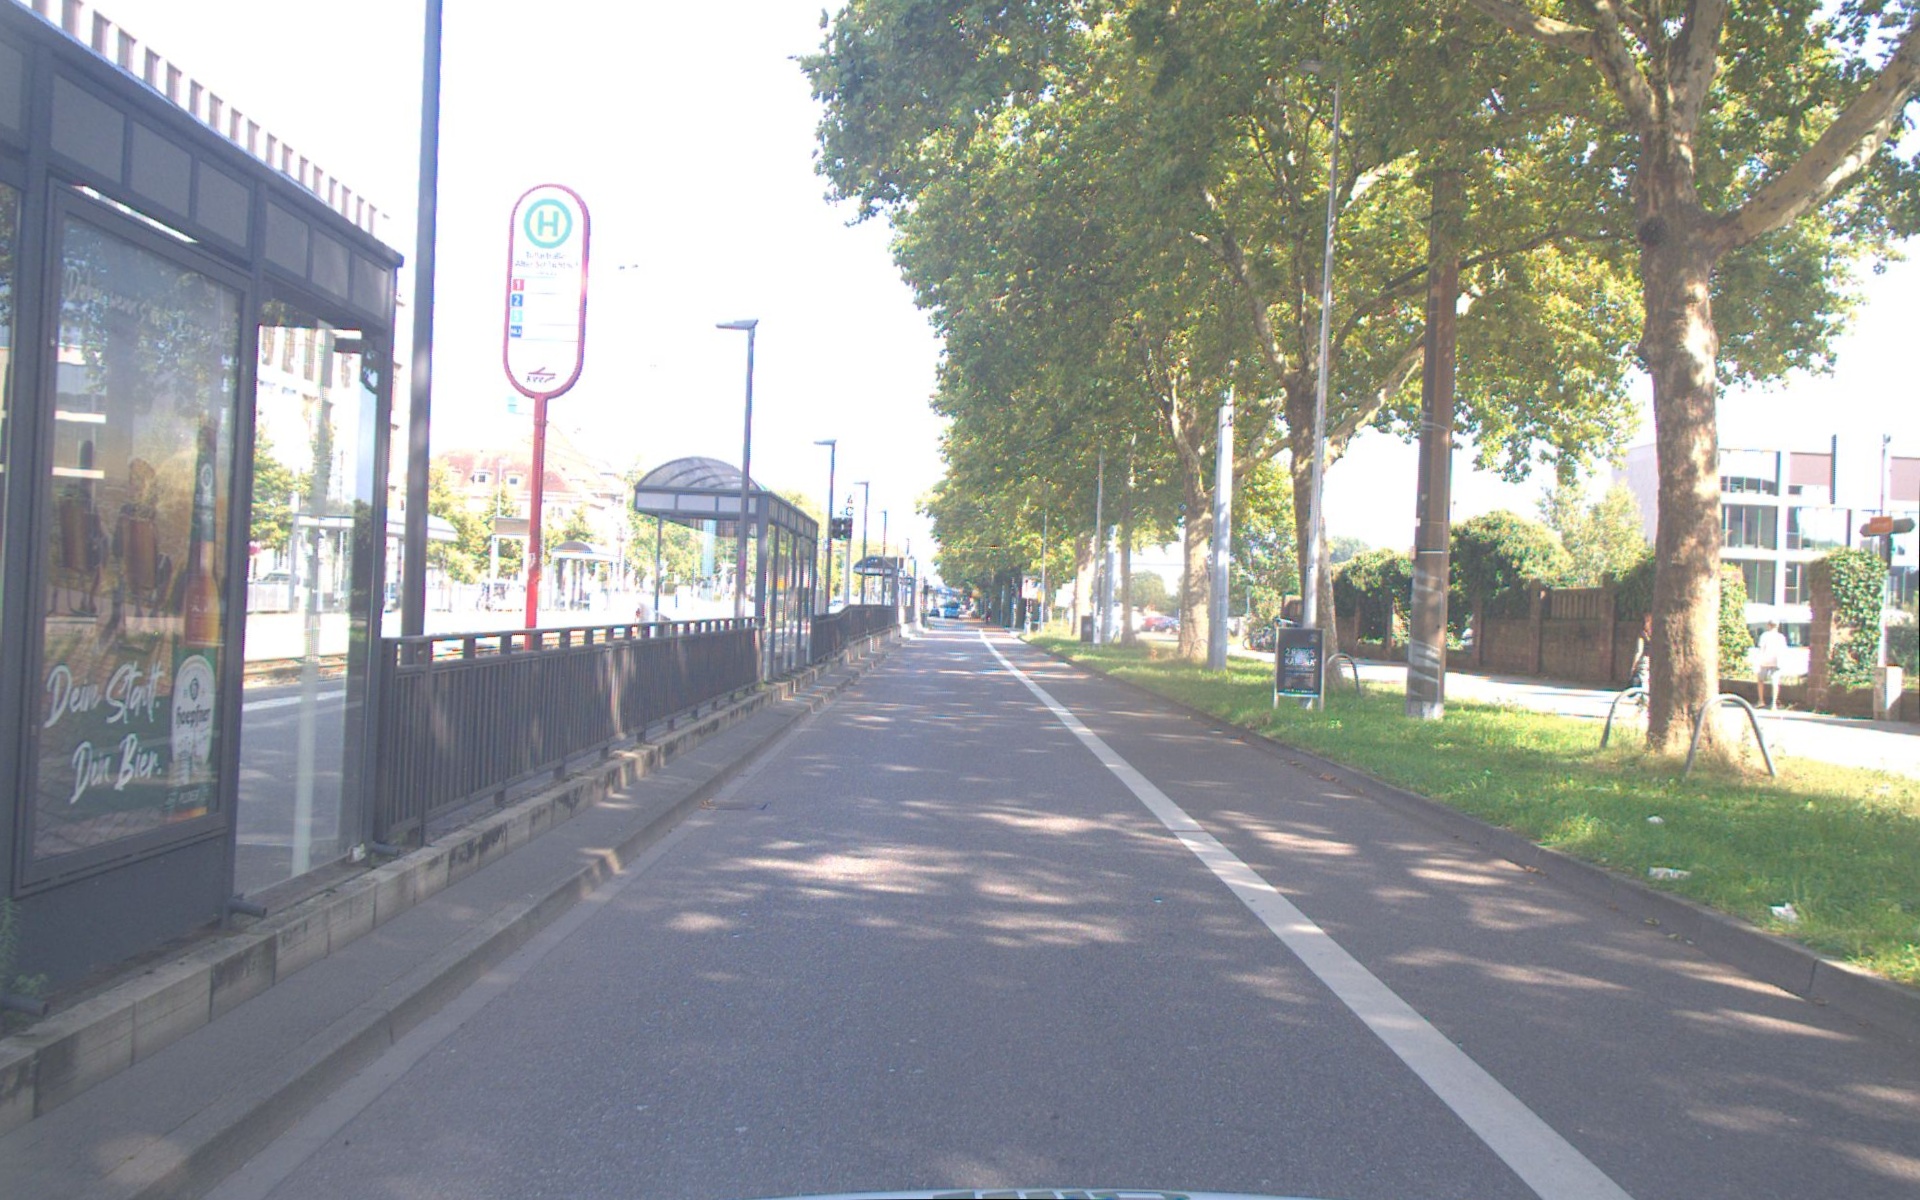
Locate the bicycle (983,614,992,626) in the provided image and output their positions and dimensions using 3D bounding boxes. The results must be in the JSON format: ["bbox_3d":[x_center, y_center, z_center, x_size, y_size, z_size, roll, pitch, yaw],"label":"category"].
[{"bbox_3d":[2.562,1.859,154.533,0.700,1.127,2.508,3,-1,0],"label":"bicycle"}]

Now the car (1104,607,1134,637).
[{"bbox_3d":[11.546,1.573,120.521,1.687,2.084,4.461,2,0,0],"label":"car"}]

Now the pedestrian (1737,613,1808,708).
[{"bbox_3d":[14.335,1.050,29.200,0.789,1.632,0.947,1,-1,0],"label":"pedestrian"}]

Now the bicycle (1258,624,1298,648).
[{"bbox_3d":[13.601,1.538,70.733,1.622,0.986,0.506,0,0,2],"label":"bicycle"}]

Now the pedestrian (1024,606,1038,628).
[{"bbox_3d":[5.302,1.276,123.591,0.614,1.645,0.841,1,0,37],"label":"pedestrian"}]

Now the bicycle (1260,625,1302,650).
[{"bbox_3d":[12.864,1.485,66.287,1.621,0.986,0.506,0,0,5],"label":"bicycle"}]

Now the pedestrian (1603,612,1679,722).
[{"bbox_3d":[10.641,1.032,25.881,0.789,1.665,0.947,1,-1,0],"label":"pedestrian"}]

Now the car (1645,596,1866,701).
[{"bbox_3d":[20.204,1.210,42.163,4.567,2.358,2.055,3,-1,-1],"label":"car"}]

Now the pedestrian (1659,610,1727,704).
[{"bbox_3d":[13.024,1.006,29.411,0.789,1.632,0.947,1,-1,0],"label":"pedestrian"}]

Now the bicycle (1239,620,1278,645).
[{"bbox_3d":[12.429,1.342,68.838,0.502,0.986,1.636,1,-1,-41],"label":"bicycle"}]

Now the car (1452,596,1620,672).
[{"bbox_3d":[19.823,1.157,57.065,5.024,2.410,2.131,2,0,3],"label":"car"}]

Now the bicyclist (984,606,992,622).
[{"bbox_3d":[2.594,1.328,154.396,0.691,1.486,1.009,3,-1,0],"label":"bicyclist"}]

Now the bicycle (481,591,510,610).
[{"bbox_3d":[-17.176,0.027,61.193,0.467,0.674,1.614,2,0,4],"label":"bicycle"}]
